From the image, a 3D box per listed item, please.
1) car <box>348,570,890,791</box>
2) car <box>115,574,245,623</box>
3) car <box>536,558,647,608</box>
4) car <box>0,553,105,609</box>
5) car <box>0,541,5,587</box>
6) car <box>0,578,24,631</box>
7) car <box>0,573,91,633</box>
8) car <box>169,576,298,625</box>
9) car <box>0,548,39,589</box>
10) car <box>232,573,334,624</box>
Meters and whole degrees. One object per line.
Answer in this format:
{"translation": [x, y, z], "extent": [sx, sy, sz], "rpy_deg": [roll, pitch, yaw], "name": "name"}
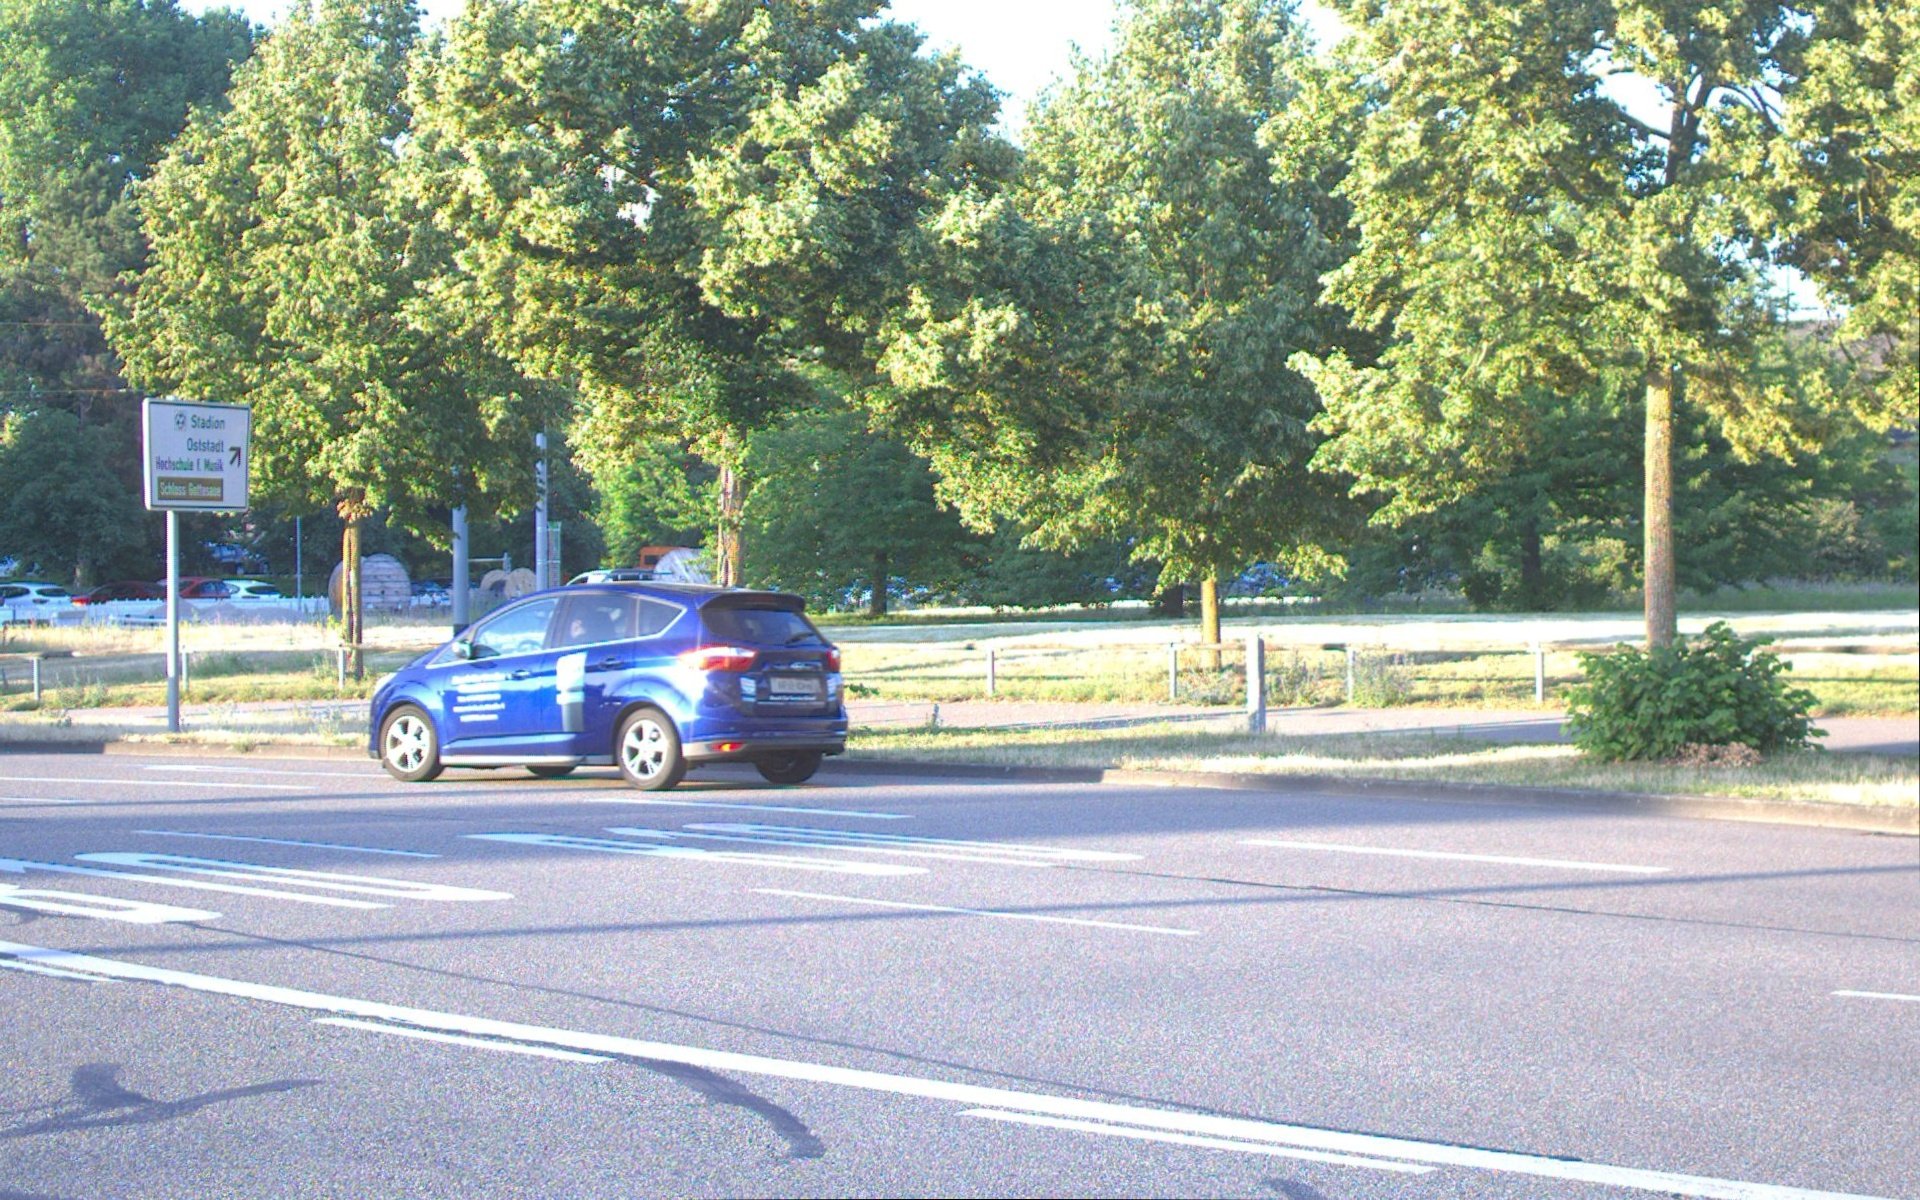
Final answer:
{"translation": [-2.773, 0.577, 27.481], "extent": [4.177, 1.578, 1.911], "rpy_deg": [1, 1, 40], "name": "car"}
{"translation": [-25.853, -0.063, 113.924], "extent": [3.994, 1.598, 1.996], "rpy_deg": [0, 1, 33], "name": "car"}
{"translation": [-12.301, -0.574, 114.608], "extent": [1.734, 1.612, 3.998], "rpy_deg": [-1, 1, -40], "name": "car"}
{"translation": [-33.746, -0.684, 125.767], "extent": [4.582, 2.007, 2.001], "rpy_deg": [-1, 1, -8], "name": "car"}
{"translation": [-43.659, -1.548, 148.882], "extent": [1.998, 2.007, 3.990], "rpy_deg": [0, 1, 41], "name": "car"}
{"translation": [-30.757, 0.144, 105.046], "extent": [3.994, 1.598, 1.996], "rpy_deg": [0, 1, 33], "name": "car"}
{"translation": [-32.198, 0.110, 117.553], "extent": [4.582, 2.007, 2.001], "rpy_deg": [-1, 1, -8], "name": "car"}
{"translation": [-24.436, -0.004, 115.643], "extent": [3.994, 1.598, 1.996], "rpy_deg": [0, 1, 33], "name": "car"}
{"translation": [-41.247, -1.329, 145.317], "extent": [3.988, 1.700, 2.000], "rpy_deg": [0, 1, 7], "name": "car"}
{"translation": [-25.339, -0.077, 128.535], "extent": [1.994, 1.746, 4.598], "rpy_deg": [-1, 2, -36], "name": "car"}
